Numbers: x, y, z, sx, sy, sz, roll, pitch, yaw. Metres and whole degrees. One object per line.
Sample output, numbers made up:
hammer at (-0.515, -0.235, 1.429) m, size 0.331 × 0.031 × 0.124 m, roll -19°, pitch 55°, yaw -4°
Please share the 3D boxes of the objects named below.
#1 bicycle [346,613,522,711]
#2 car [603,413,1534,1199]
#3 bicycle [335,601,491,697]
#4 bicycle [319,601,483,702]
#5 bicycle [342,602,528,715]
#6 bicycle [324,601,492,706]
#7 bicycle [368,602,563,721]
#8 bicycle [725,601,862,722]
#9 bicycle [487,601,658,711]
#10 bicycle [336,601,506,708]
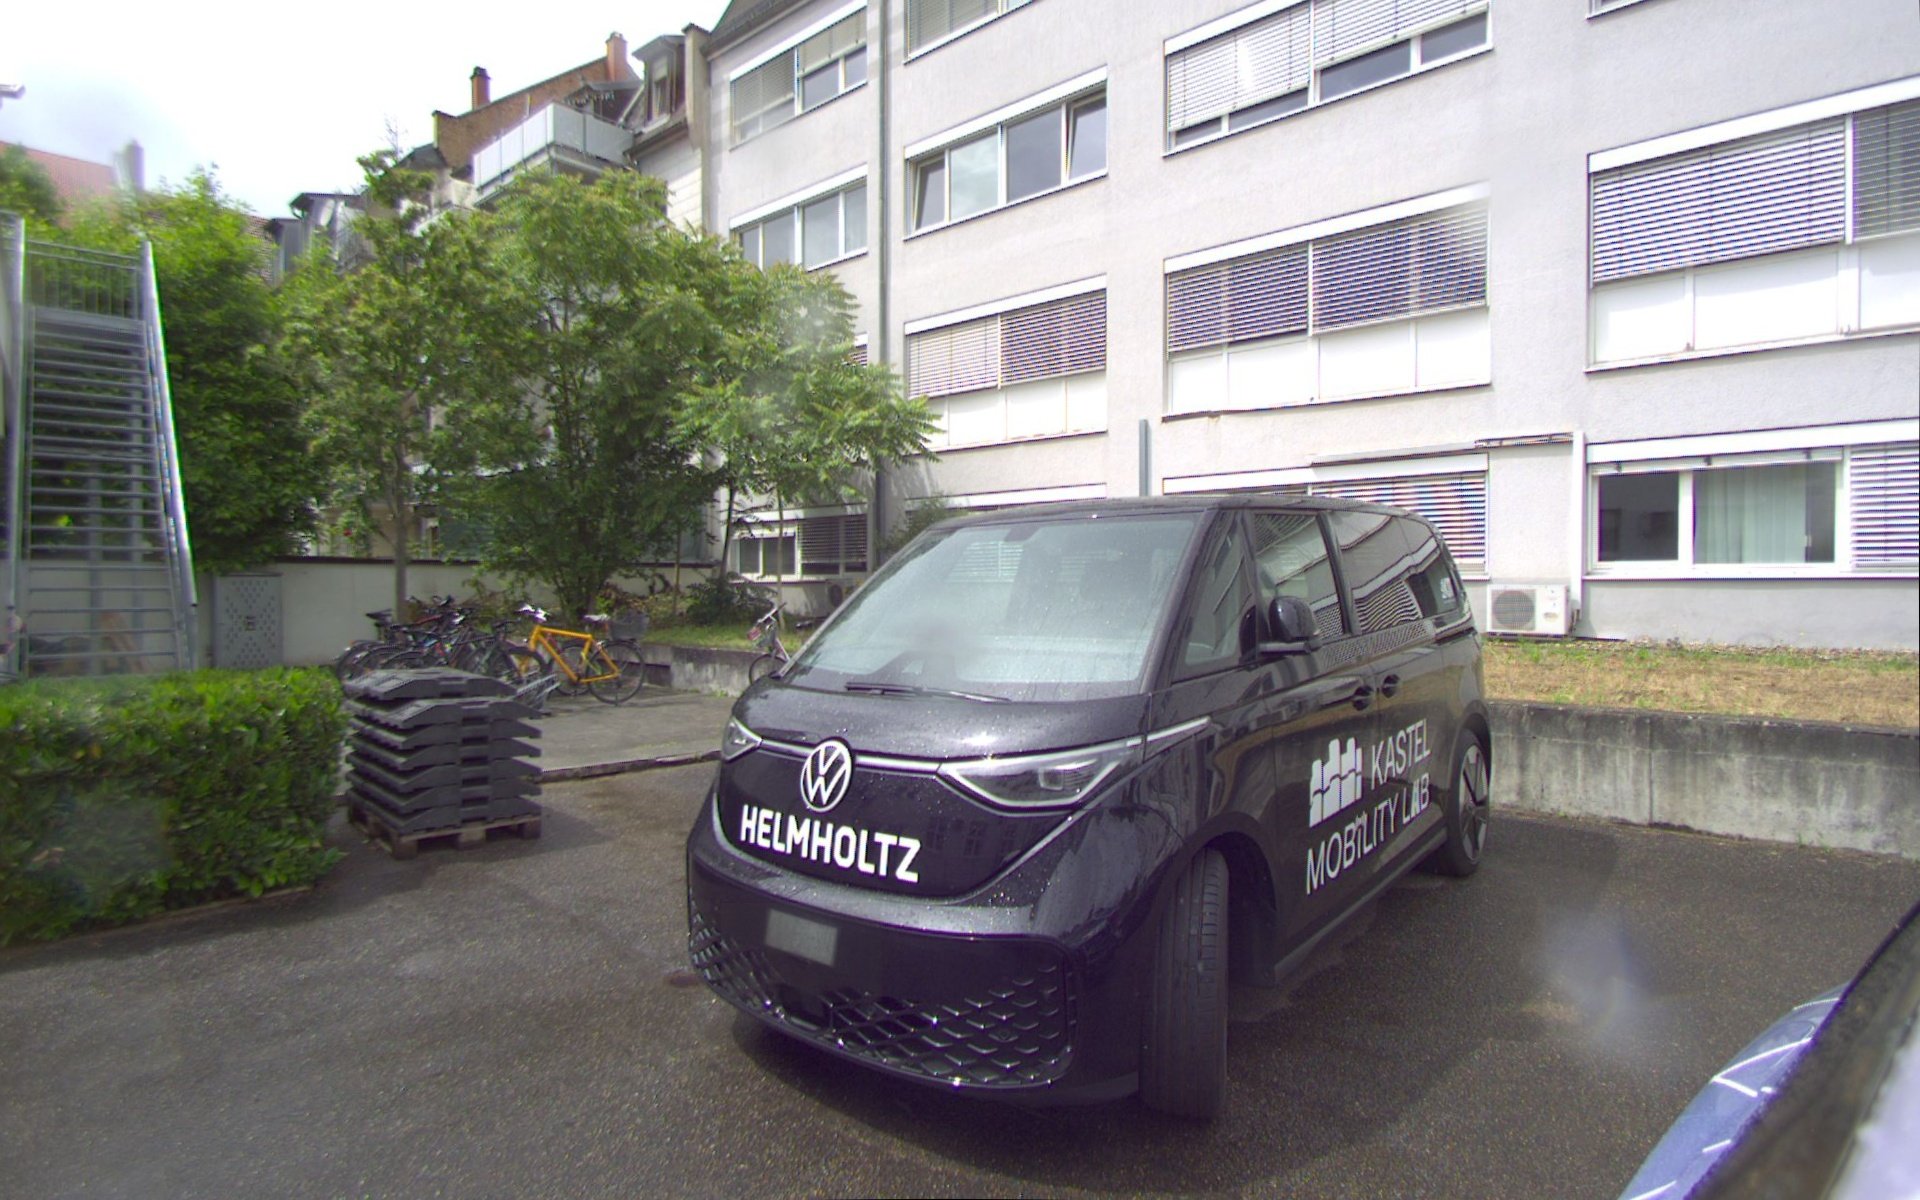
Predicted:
bicycle at (-5.886, 0.659, 11.412) m, size 0.328 × 0.979 × 1.770 m, roll 1°, pitch 1°, yaw 41°
car at (1.034, 0.465, 4.624) m, size 1.961 × 1.888 × 4.680 m, roll 0°, pitch 2°, yaw 40°
bicycle at (-6.890, 0.584, 12.829) m, size 0.353 × 1.117 × 1.730 m, roll 1°, pitch 1°, yaw 41°
bicycle at (-6.716, 0.588, 12.246) m, size 0.344 × 1.117 × 1.730 m, roll 1°, pitch 1°, yaw 41°
bicycle at (-5.649, 0.592, 10.966) m, size 1.765 × 1.117 × 0.354 m, roll -1°, pitch 1°, yaw -41°
bicycle at (-6.427, 0.591, 11.860) m, size 0.341 × 1.117 × 1.730 m, roll 1°, pitch 1°, yaw 41°
bicycle at (-5.051, 0.592, 10.423) m, size 1.765 × 1.117 × 0.405 m, roll -1°, pitch 1°, yaw -41°
bicycle at (-1.774, 0.596, 10.599) m, size 0.440 × 1.117 × 1.791 m, roll -4°, pitch 3°, yaw -45°
bicycle at (-4.280, 0.583, 11.280) m, size 1.765 × 1.117 × 0.366 m, roll -1°, pitch 1°, yaw -41°
bicycle at (-6.148, 0.590, 11.631) m, size 0.331 × 1.117 × 1.730 m, roll 1°, pitch 1°, yaw 41°
